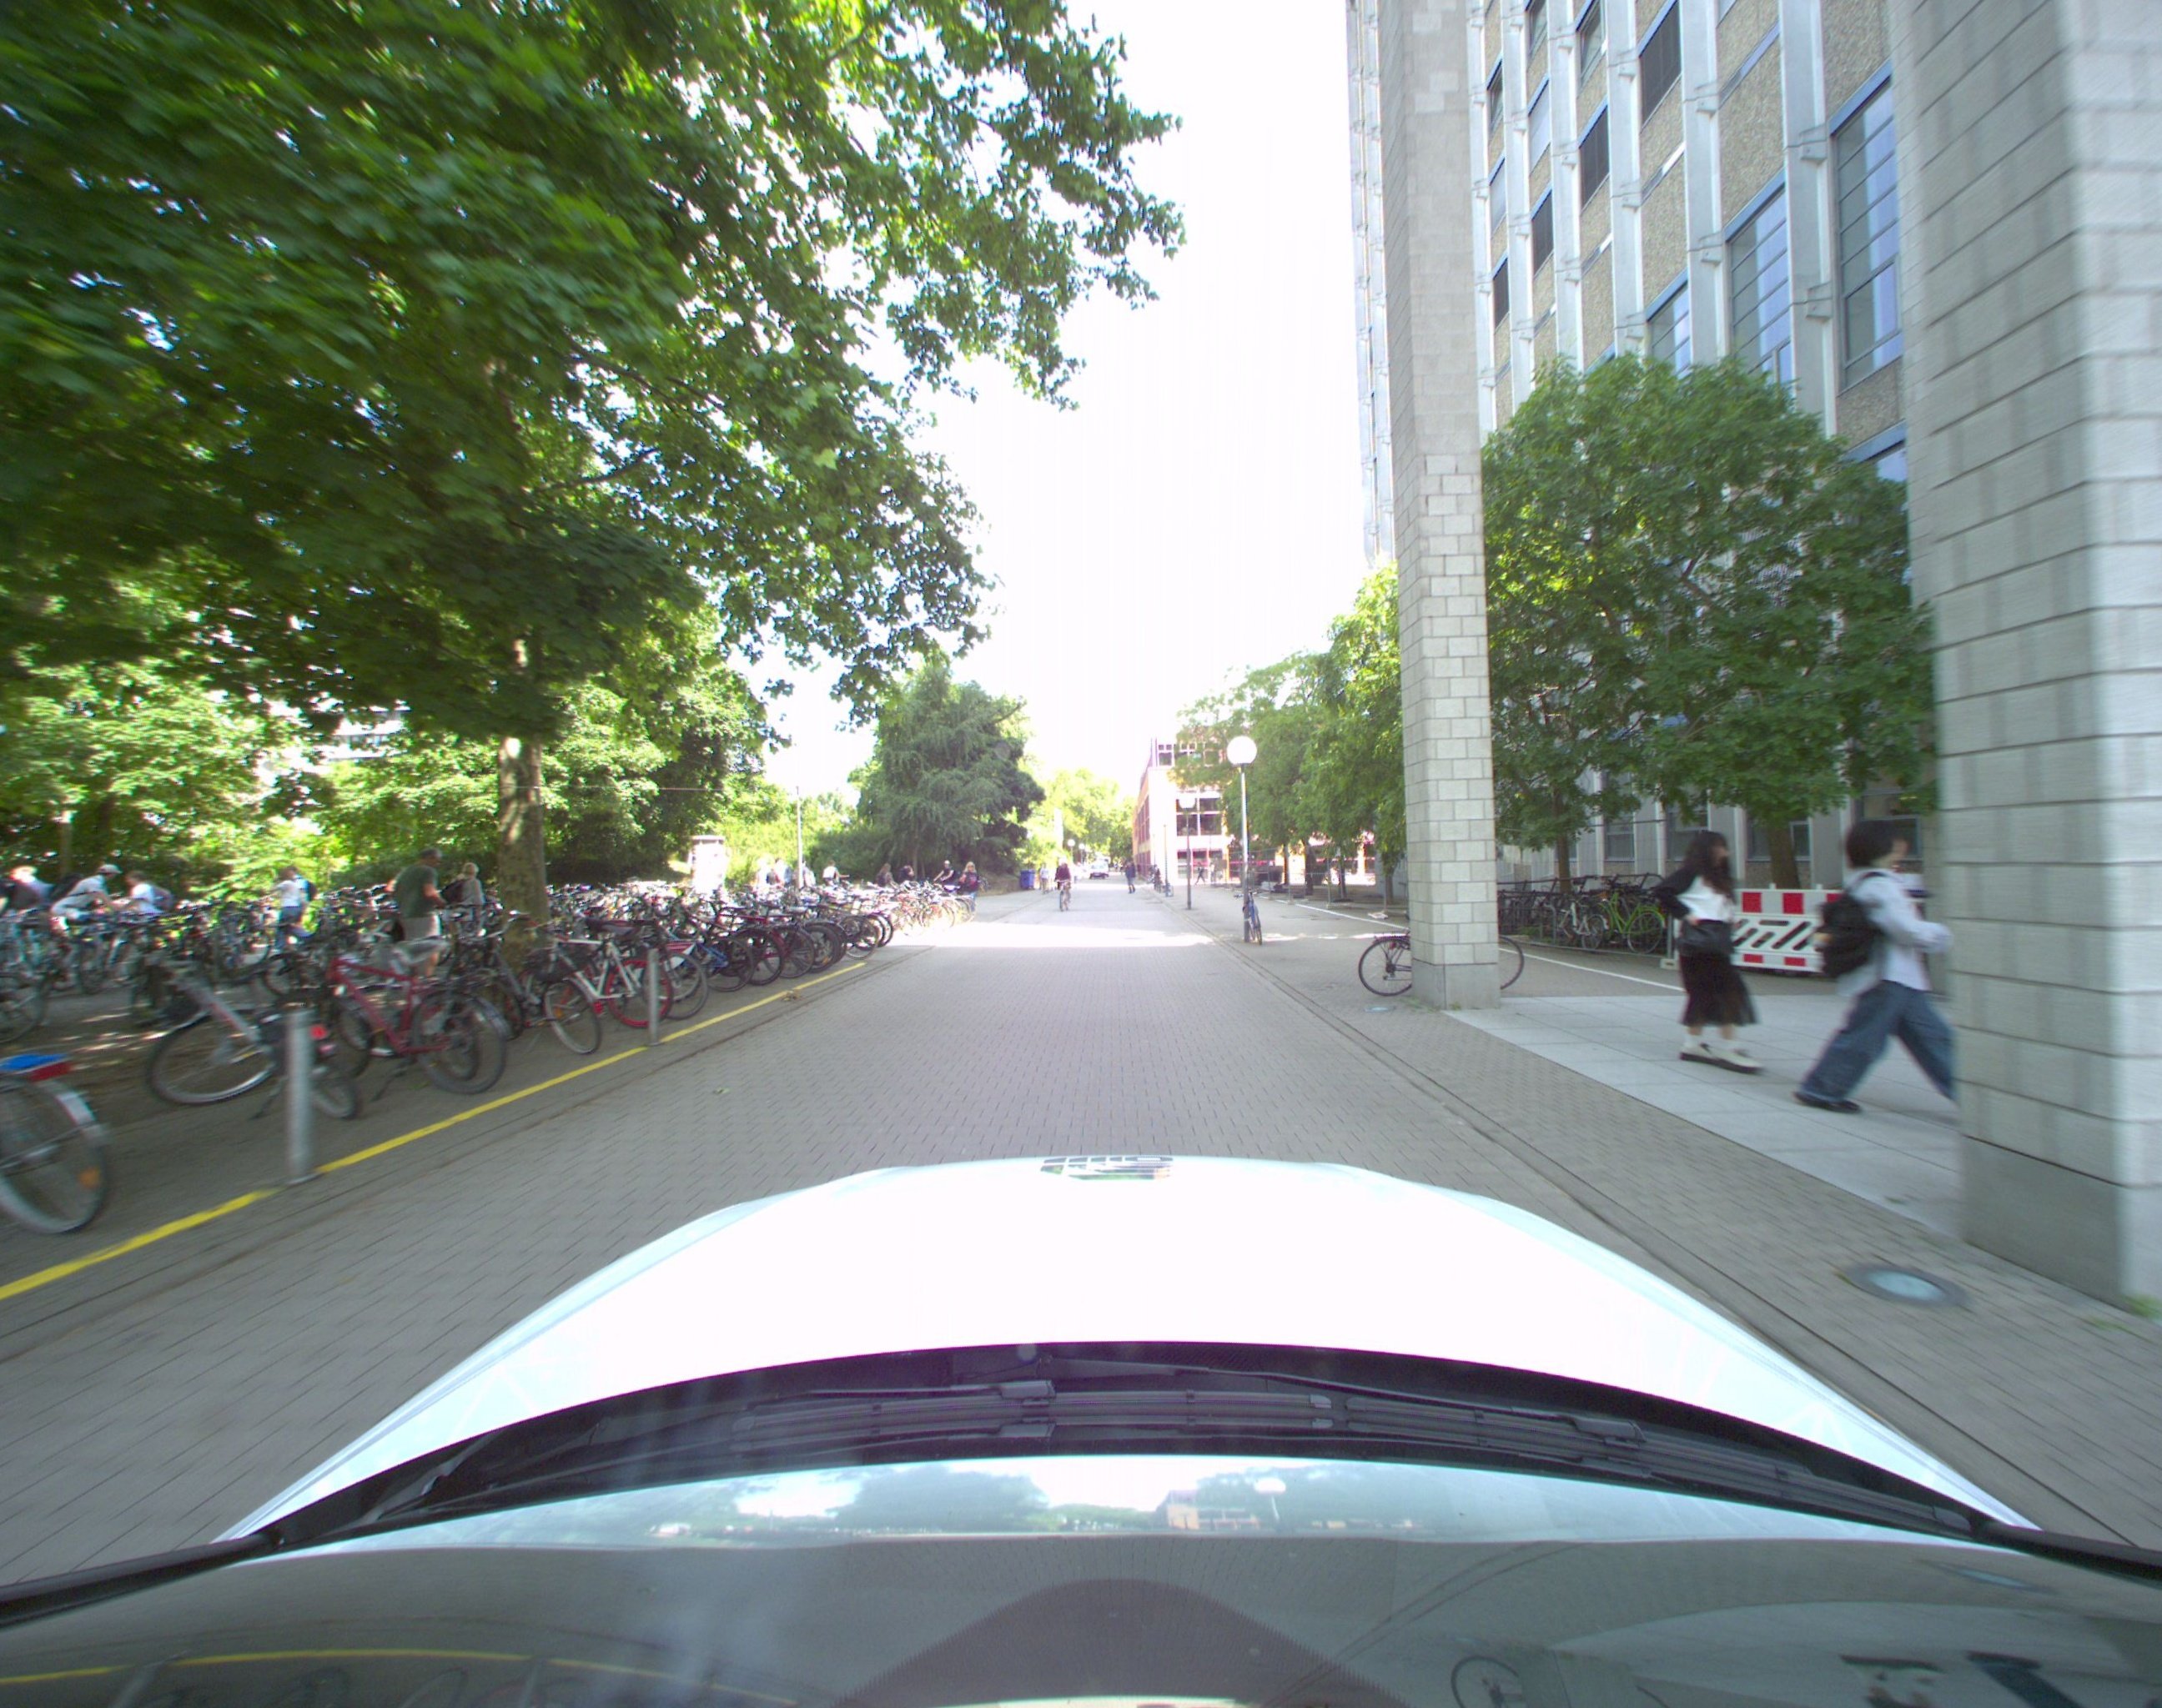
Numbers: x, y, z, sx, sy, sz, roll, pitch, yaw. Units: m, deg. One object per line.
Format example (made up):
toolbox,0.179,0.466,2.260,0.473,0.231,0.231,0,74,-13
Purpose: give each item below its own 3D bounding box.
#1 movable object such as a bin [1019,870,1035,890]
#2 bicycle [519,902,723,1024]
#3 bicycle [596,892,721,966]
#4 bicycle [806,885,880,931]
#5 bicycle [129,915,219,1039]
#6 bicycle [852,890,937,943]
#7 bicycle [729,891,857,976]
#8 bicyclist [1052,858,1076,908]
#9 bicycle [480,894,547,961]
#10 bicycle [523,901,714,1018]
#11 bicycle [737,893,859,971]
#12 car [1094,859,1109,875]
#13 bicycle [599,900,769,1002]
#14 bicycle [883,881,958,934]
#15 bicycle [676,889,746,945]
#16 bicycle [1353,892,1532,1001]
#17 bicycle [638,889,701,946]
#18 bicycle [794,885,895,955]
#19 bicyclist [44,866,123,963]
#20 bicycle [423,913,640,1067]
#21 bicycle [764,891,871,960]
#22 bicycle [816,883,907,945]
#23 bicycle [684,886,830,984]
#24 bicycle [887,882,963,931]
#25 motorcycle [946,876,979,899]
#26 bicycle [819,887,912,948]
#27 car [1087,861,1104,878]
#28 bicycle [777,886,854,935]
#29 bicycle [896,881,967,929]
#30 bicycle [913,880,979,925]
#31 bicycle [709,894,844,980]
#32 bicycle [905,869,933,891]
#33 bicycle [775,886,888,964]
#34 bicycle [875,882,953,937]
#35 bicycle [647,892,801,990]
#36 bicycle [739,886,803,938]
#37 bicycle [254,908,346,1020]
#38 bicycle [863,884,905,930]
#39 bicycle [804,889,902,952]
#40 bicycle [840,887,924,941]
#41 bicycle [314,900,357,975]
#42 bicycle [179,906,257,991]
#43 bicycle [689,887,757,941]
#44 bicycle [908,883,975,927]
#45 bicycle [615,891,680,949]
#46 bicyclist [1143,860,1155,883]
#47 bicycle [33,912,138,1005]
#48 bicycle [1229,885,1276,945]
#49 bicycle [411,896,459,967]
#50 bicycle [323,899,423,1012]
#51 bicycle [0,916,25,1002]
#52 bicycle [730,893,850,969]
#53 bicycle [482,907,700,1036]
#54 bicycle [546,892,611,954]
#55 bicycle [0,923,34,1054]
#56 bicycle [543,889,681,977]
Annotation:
movable object such as a bin,-3.620,1.750,54.937,0.704,1.336,1.243,1,-1,12
bicycle,-4.582,1.070,8.180,1.731,1.126,0.496,-1,-1,-3
bicycle,-6.781,1.185,13.123,1.694,1.108,0.501,-1,-1,-10
bicycle,-5.728,1.302,19.628,1.682,1.083,0.476,-1,-1,14
bicycle,-9.517,1.234,8.529,1.677,1.108,0.506,-2,-1,38
bicycle,-3.942,1.298,17.266,1.706,1.018,0.469,0,-1,-33
bicycle,-4.194,1.146,11.933,1.694,1.145,0.472,-1,-1,-10
bicyclist,-0.607,1.019,28.797,0.769,1.716,0.911,-2,-2,-1
bicycle,-10.049,1.269,14.396,1.677,1.083,0.477,-2,-1,37
bicycle,-4.959,1.105,8.840,1.742,1.108,0.493,0,-1,-22
bicycle,-4.279,1.168,12.393,1.694,1.108,0.472,-1,-1,-10
car,2.726,1.649,105.909,1.876,1.974,5.217,-1,0,2
bicycle,-4.677,1.125,9.687,1.735,1.108,0.495,-1,-1,-11
bicycle,-3.745,1.247,19.053,1.695,1.168,0.472,-1,-1,-11
bicycle,-7.618,1.274,16.749,1.677,1.083,0.477,-1,-1,33
bicycle,3.904,0.985,8.834,1.734,1.039,0.449,-2,1,-3
bicycle,-8.418,1.266,16.634,1.677,1.083,0.477,-2,-1,37
bicycle,-4.259,1.174,14.749,1.694,1.187,0.472,-1,-1,-10
bicyclist,-16.689,0.988,13.640,0.725,1.568,0.588,0,-1,-40
bicycle,-4.514,1.059,6.685,1.720,1.108,0.577,-1,-1,21
bicycle,-4.566,1.225,14.203,1.694,1.108,0.564,-1,-1,-10
bicycle,-4.420,1.187,16.426,1.702,1.157,0.470,0,-1,-26
bicycle,-4.316,1.070,10.933,1.732,1.236,0.496,-1,-1,-6
bicycle,-3.776,1.269,19.764,1.762,1.168,0.476,-1,-1,14
motorcycle,-5.782,1.599,39.635,2.001,1.047,0.477,0,0,44
bicycle,-4.221,1.224,16.008,1.702,1.108,0.470,0,-1,-26
car,1.689,1.713,92.221,1.783,1.762,4.483,-2,0,2
bicycle,-6.055,1.287,18.563,1.681,1.083,0.476,-1,-1,15
bicycle,-3.769,1.275,20.616,1.691,1.168,0.473,-1,-1,-5
bicycle,-3.606,1.298,21.844,1.692,1.159,0.473,-1,-1,-7
bicycle,-4.230,1.142,11.409,1.693,1.108,0.495,-1,-1,-9
bicycle,-8.122,1.289,40.915,0.468,1.047,1.709,0,-1,24
bicycle,-4.068,1.141,13.362,1.692,1.198,0.535,-1,-1,-7
bicycle,-3.793,1.243,18.511,1.697,1.168,0.471,-1,-1,-15
bicycle,-4.531,1.091,10.376,1.729,1.178,0.497,-1,-1,1
bicycle,-6.837,1.260,17.917,1.677,1.083,0.477,-2,-1,37
bicycle,-8.842,1.195,9.207,1.677,1.108,0.506,-2,-1,38
bicycle,-4.993,1.329,20.727,0.504,1.083,1.702,-1,-1,5
bicycle,-4.248,1.226,15.277,1.694,1.108,0.580,-1,-1,-10
bicycle,-4.301,1.275,17.627,1.706,1.062,0.469,0,-1,-33
bicycle,-11.920,1.299,13.013,0.477,1.083,1.679,0,-1,-44
bicycle,-12.695,1.351,12.018,0.476,1.083,1.681,0,-1,-36
bicycle,-7.648,1.257,17.362,1.677,1.083,0.477,-1,-1,33
bicycle,-3.647,1.337,21.374,1.691,1.091,0.473,-1,-1,-5
bicycle,-8.637,1.290,16.197,1.677,1.083,0.477,-2,-1,37
bicyclist,5.071,1.308,60.888,0.592,1.716,0.657,0,-1,-43
bicycle,-13.472,1.369,11.068,0.476,1.083,1.681,0,-1,-36
bicycle,3.328,1.165,15.942,0.535,1.039,1.859,-2,-1,2
bicycle,-10.943,1.274,13.779,0.477,1.083,1.679,0,-1,-44
bicycle,-8.432,1.155,9.678,1.677,1.200,0.579,-2,-1,38
bicycle,-14.070,1.366,10.252,0.476,1.083,1.681,0,-1,-36
bicycle,-4.534,1.188,12.772,1.694,1.108,0.472,-1,-1,-10
bicycle,-4.516,1.069,7.558,1.728,1.108,0.497,-1,-1,1
bicycle,-9.487,1.272,15.366,1.677,1.083,0.477,-2,-1,37
bicycle,-10.435,1.256,7.718,1.678,1.108,0.506,-2,-1,42
bicycle,-6.923,1.151,12.068,1.694,1.220,0.501,-1,-1,-10
